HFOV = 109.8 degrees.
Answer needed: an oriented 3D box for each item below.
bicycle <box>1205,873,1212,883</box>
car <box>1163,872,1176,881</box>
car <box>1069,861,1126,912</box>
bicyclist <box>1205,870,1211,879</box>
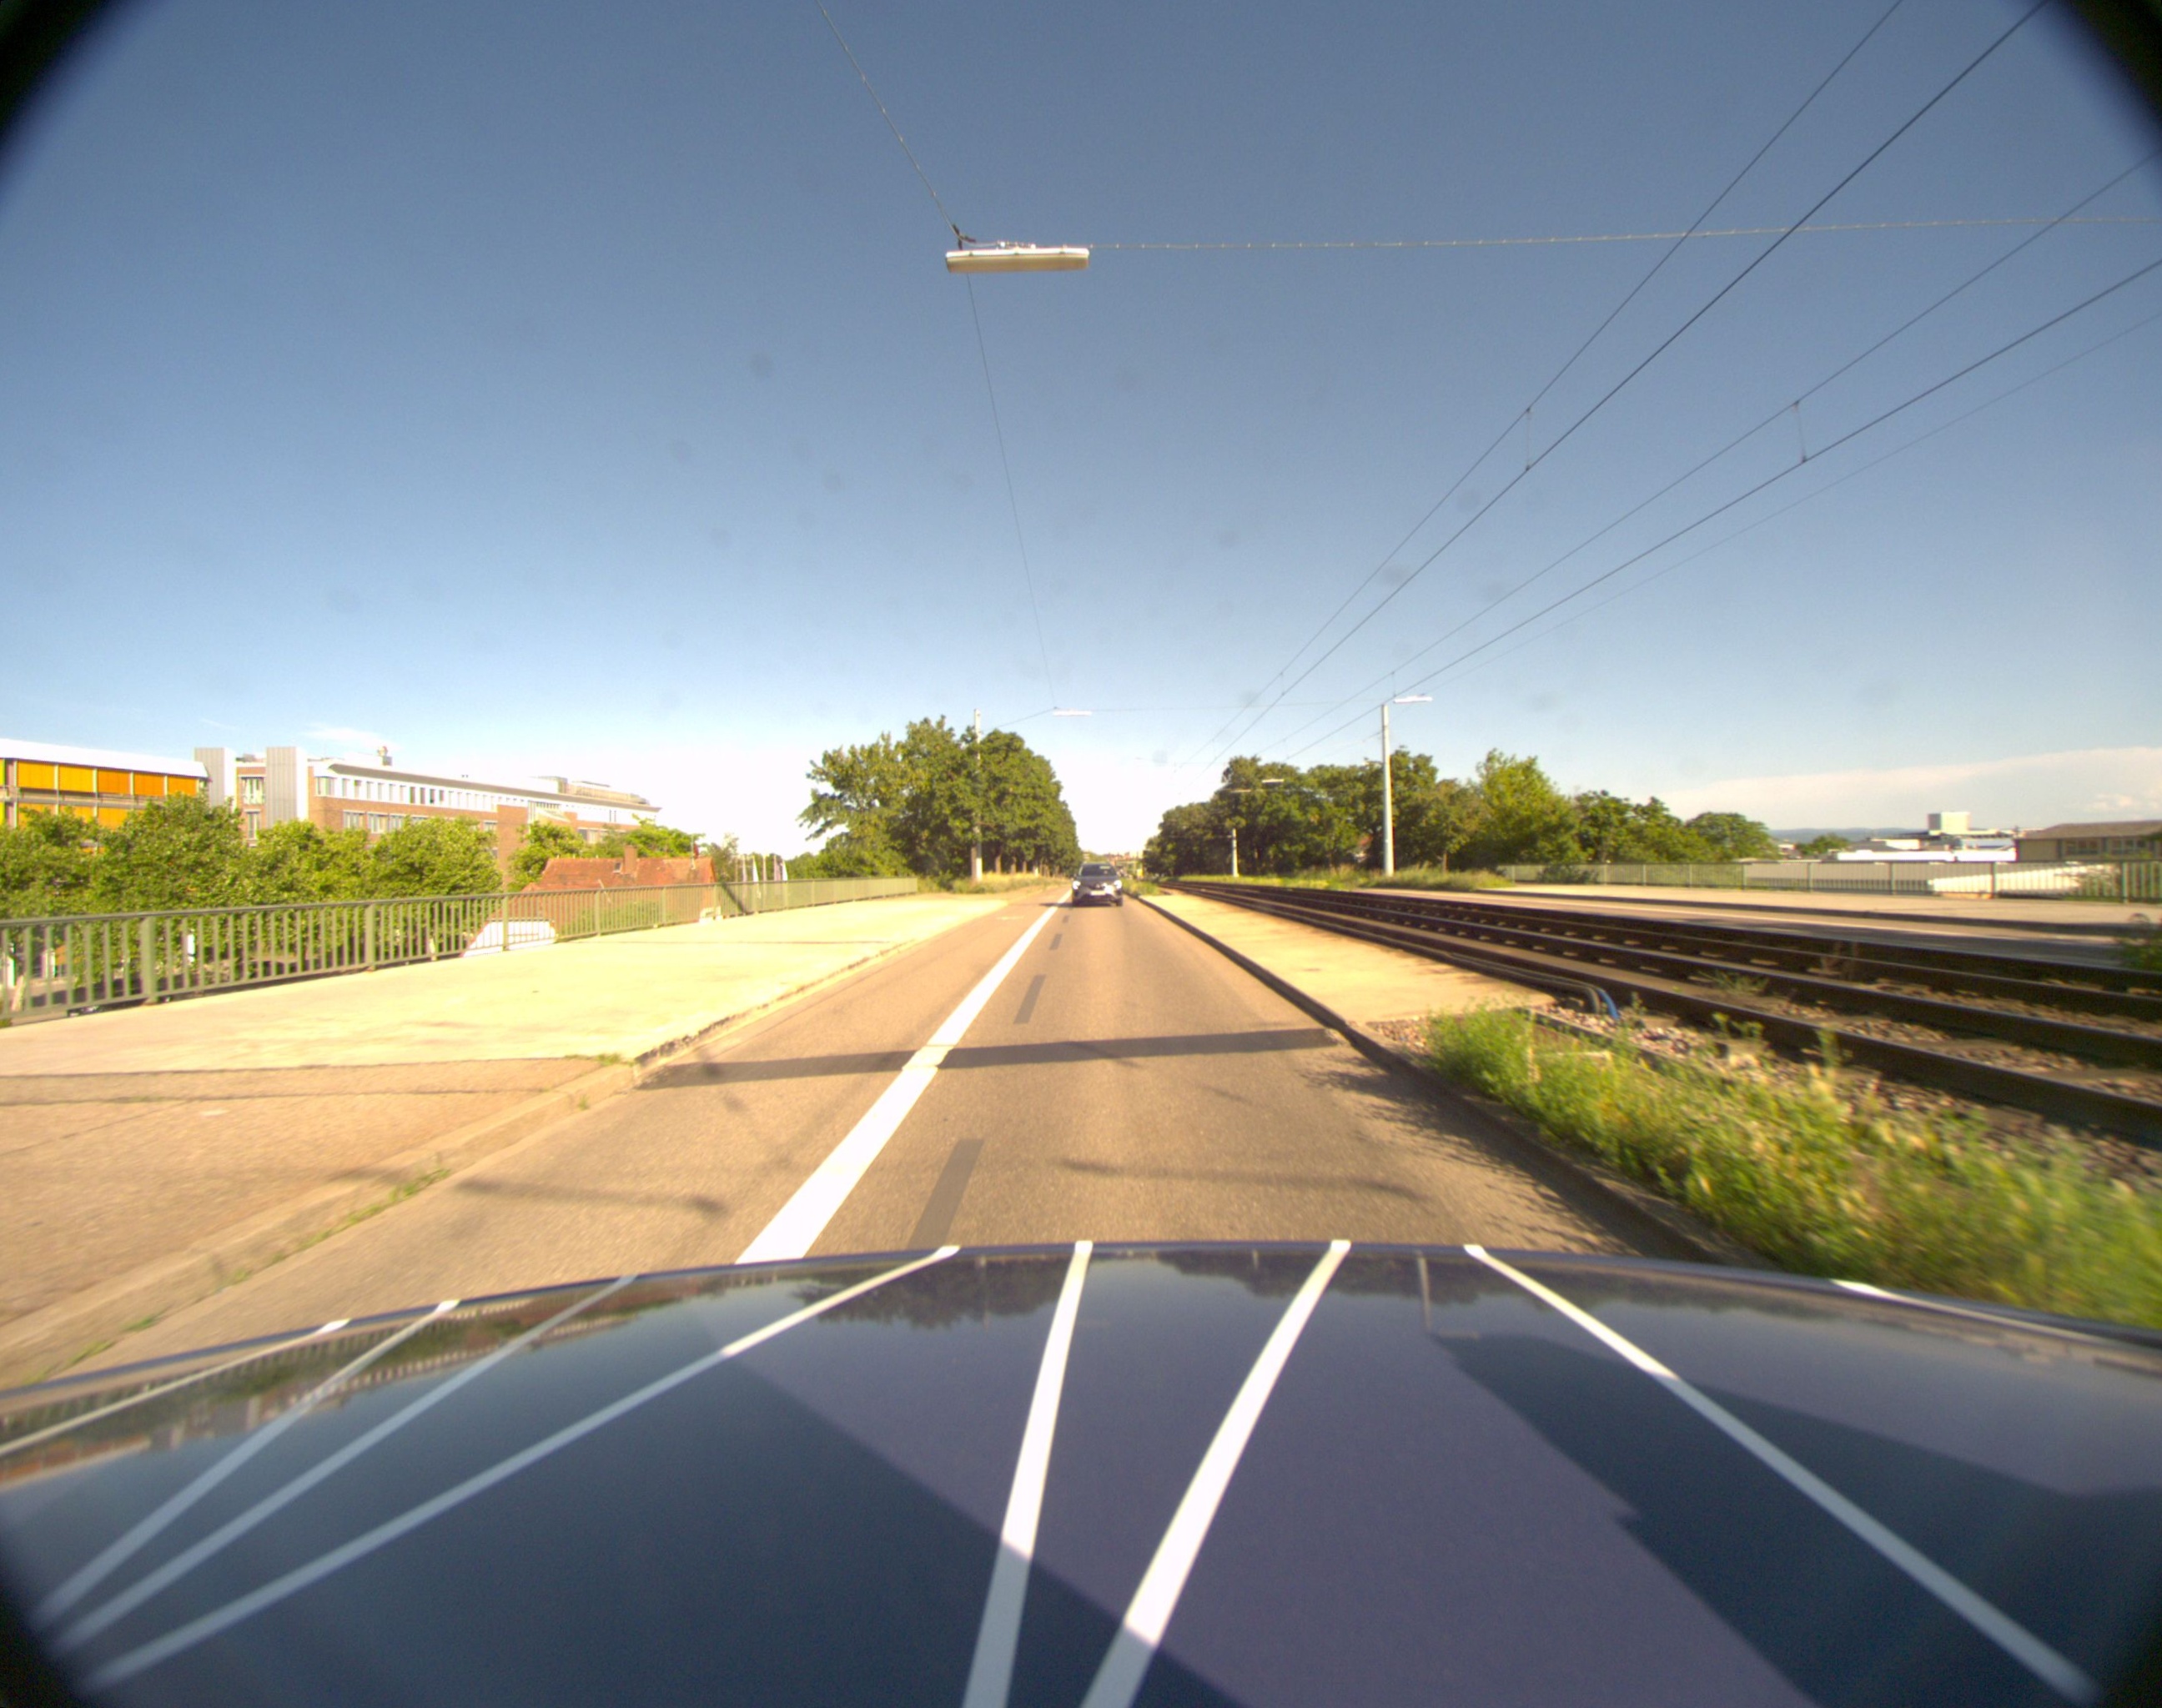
[{"bbox_3d":[17.683,3.316,105.470,0.591,1.253,2.428,-3,-2,1],"label":"bicycle"},{"bbox_3d":[15.300,3.941,131.343,1.814,1.479,4.408,-3,-2,2],"label":"car"},{"bbox_3d":[0.588,1.088,26.925,1.814,1.625,4.711,1,-1,1],"label":"car"},{"bbox_3d":[17.673,2.865,105.494,0.584,1.302,0.987,-3,-1,1],"label":"bicyclist"}]
